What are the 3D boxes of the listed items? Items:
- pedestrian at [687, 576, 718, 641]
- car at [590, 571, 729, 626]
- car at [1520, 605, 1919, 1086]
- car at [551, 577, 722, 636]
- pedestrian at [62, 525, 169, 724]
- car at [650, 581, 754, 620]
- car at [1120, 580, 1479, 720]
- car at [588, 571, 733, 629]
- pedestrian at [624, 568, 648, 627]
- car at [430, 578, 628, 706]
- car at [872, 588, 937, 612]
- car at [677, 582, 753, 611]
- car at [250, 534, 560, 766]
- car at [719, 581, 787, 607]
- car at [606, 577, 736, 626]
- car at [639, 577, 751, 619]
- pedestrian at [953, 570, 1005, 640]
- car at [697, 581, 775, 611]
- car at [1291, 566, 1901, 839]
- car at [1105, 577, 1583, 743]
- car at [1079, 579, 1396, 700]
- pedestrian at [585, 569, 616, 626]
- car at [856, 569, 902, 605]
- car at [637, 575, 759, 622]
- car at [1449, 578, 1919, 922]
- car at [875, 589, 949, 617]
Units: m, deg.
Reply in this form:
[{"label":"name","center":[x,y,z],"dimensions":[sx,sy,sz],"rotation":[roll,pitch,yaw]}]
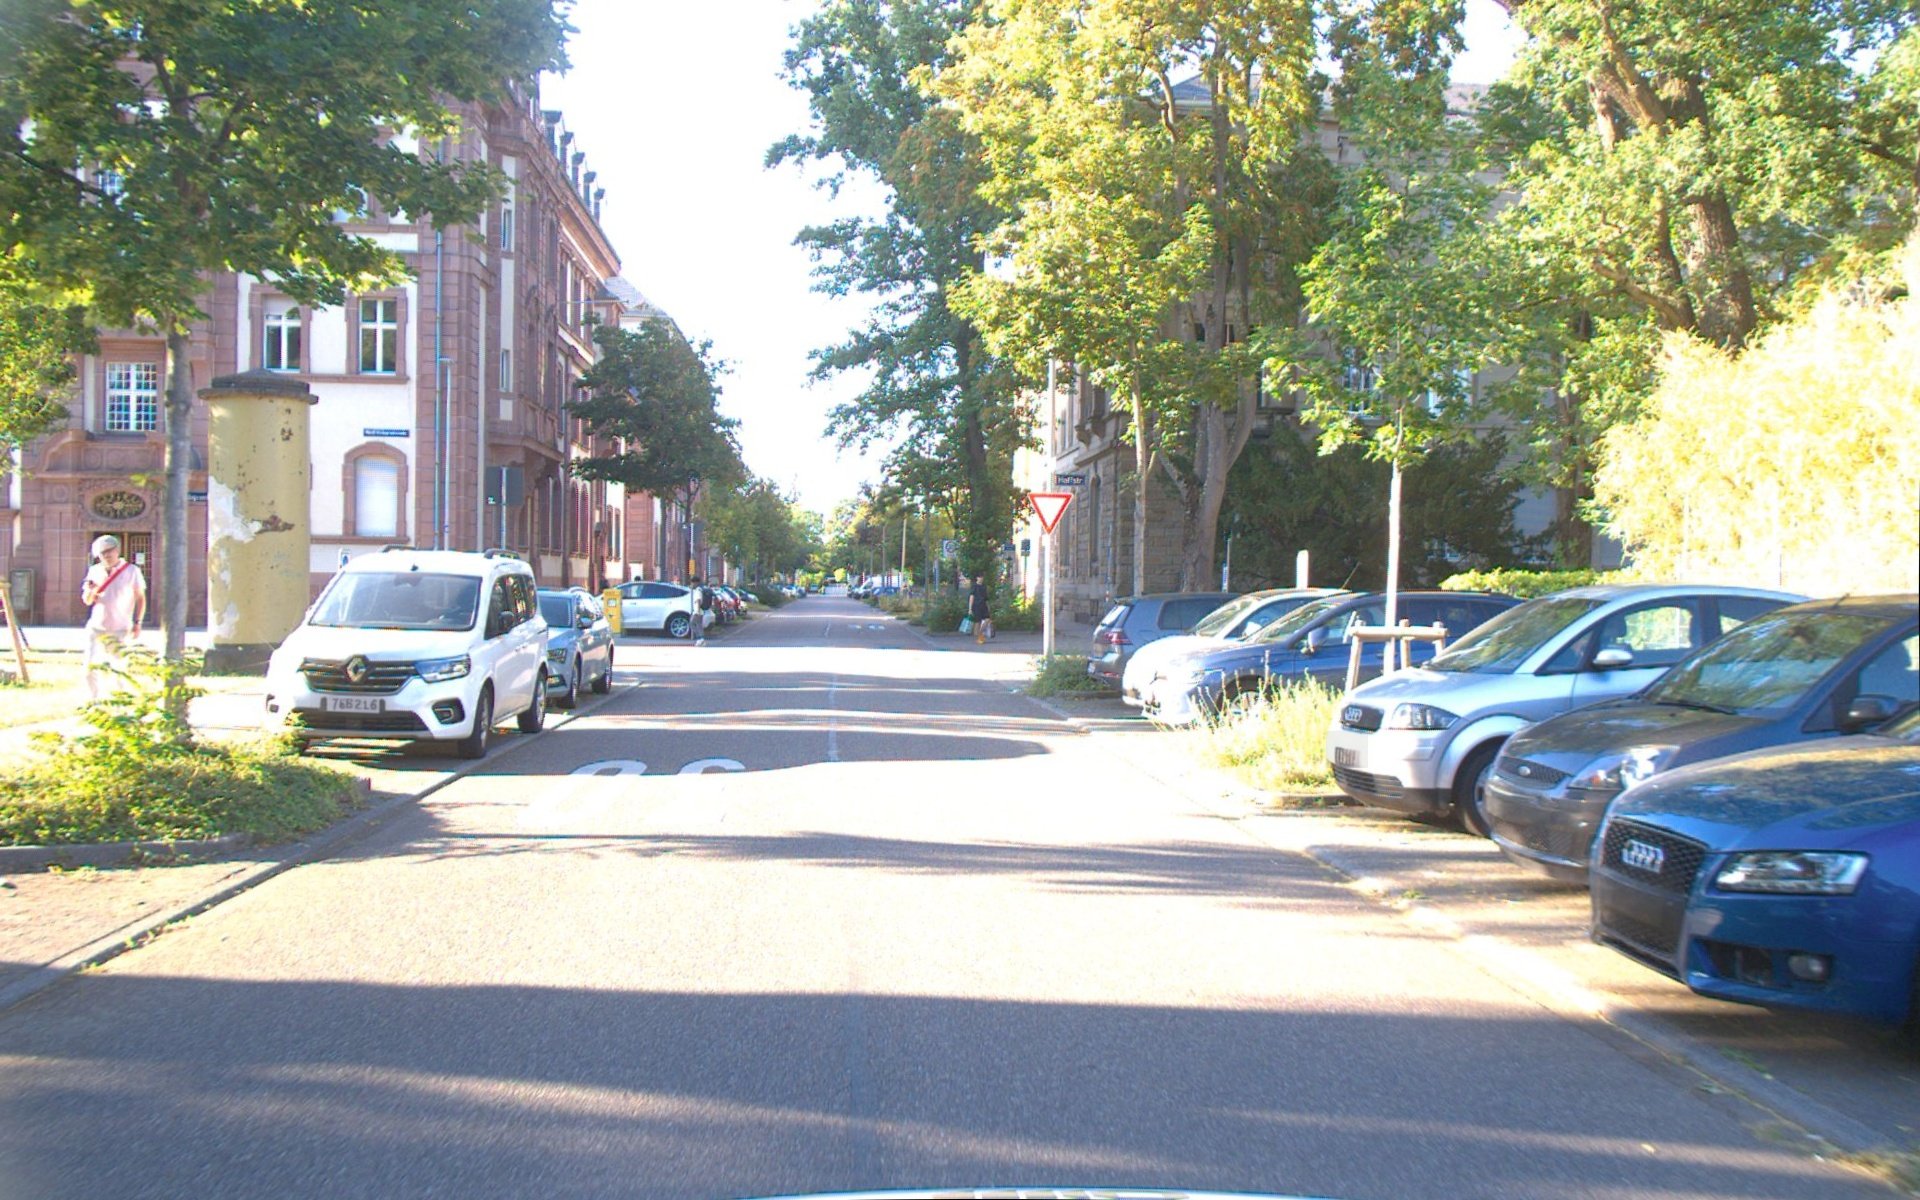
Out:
[{"label":"pedestrian","center":[-6.592,0.227,42.306],"dimensions":[0.770,1.634,0.719],"rotation":[1,-1,-10]},{"label":"car","center":[-9.937,-0.065,54.929],"dimensions":[4.397,1.747,1.839],"rotation":[1,0,-7]},{"label":"car","center":[4.674,0.720,6.163],"dimensions":[4.498,1.439,1.921],"rotation":[-1,-1,-3]},{"label":"car","center":[-9.377,0.175,48.248],"dimensions":[4.750,1.622,1.839],"rotation":[1,0,-7]},{"label":"pedestrian","center":[-7.926,0.222,15.559],"dimensions":[0.588,1.815,0.945],"rotation":[1,0,-8]},{"label":"car","center":[-11.378,0.021,73.187],"dimensions":[4.397,1.636,1.839],"rotation":[1,0,-7]},{"label":"car","center":[3.933,0.557,19.571],"dimensions":[3.874,1.543,1.674],"rotation":[1,0,-2]},{"label":"car","center":[-9.515,0.000,52.793],"dimensions":[4.397,1.747,1.839],"rotation":[1,0,-7]},{"label":"pedestrian","center":[-11.083,-0.086,56.649],"dimensions":[0.771,1.996,0.718],"rotation":[1,-1,-13]},{"label":"car","center":[-5.686,0.499,22.370],"dimensions":[1.746,1.531,4.549],"rotation":[1,0,-4]},{"label":"car","center":[-3.994,0.002,118.970],"dimensions":[4.495,1.636,1.839],"rotation":[1,0,-7]},{"label":"car","center":[-14.669,-0.216,99.041],"dimensions":[4.397,1.636,1.839],"rotation":[1,0,-7]},{"label":"car","center":[-5.066,0.390,15.753],"dimensions":[1.746,1.873,4.548],"rotation":[1,0,-5]},{"label":"car","center":[-13.632,-0.425,109.105],"dimensions":[4.397,1.636,1.839],"rotation":[1,0,-7]},{"label":"car","center":[-10.139,0.036,58.281],"dimensions":[4.397,1.636,1.839],"rotation":[1,0,-7]},{"label":"car","center":[-10.827,-0.088,67.859],"dimensions":[4.397,1.636,1.839],"rotation":[1,0,-7]},{"label":"pedestrian","center":[0.513,0.133,45.945],"dimensions":[1.052,1.890,0.989],"rotation":[1,0,-36]},{"label":"car","center":[-12.842,-0.245,95.057],"dimensions":[4.397,1.636,1.839],"rotation":[1,0,-7]},{"label":"car","center":[4.170,0.611,11.041],"dimensions":[3.434,1.612,1.755],"rotation":[1,0,-15]},{"label":"car","center":[3.854,0.588,17.004],"dimensions":[4.406,1.576,1.888],"rotation":[1,0,-8]},{"label":"car","center":[3.634,0.528,22.128],"dimensions":[3.875,1.543,1.872],"rotation":[0,-2,-3]},{"label":"pedestrian","center":[-12.830,-0.088,59.032],"dimensions":[0.706,1.996,0.785],"rotation":[0,-1,34]},{"label":"car","center":[-8.578,-1.390,174.579],"dimensions":[4.791,3.681,1.840],"rotation":[1,0,-6]},{"label":"car","center":[-9.714,-0.050,61.565],"dimensions":[4.397,1.636,1.839],"rotation":[1,0,-7]},{"label":"car","center":[4.641,0.686,8.603],"dimensions":[3.612,1.550,1.788],"rotation":[1,0,-8]},{"label":"car","center":[-2.954,0.155,101.719],"dimensions":[4.397,1.636,1.839],"rotation":[1,0,-7]}]
